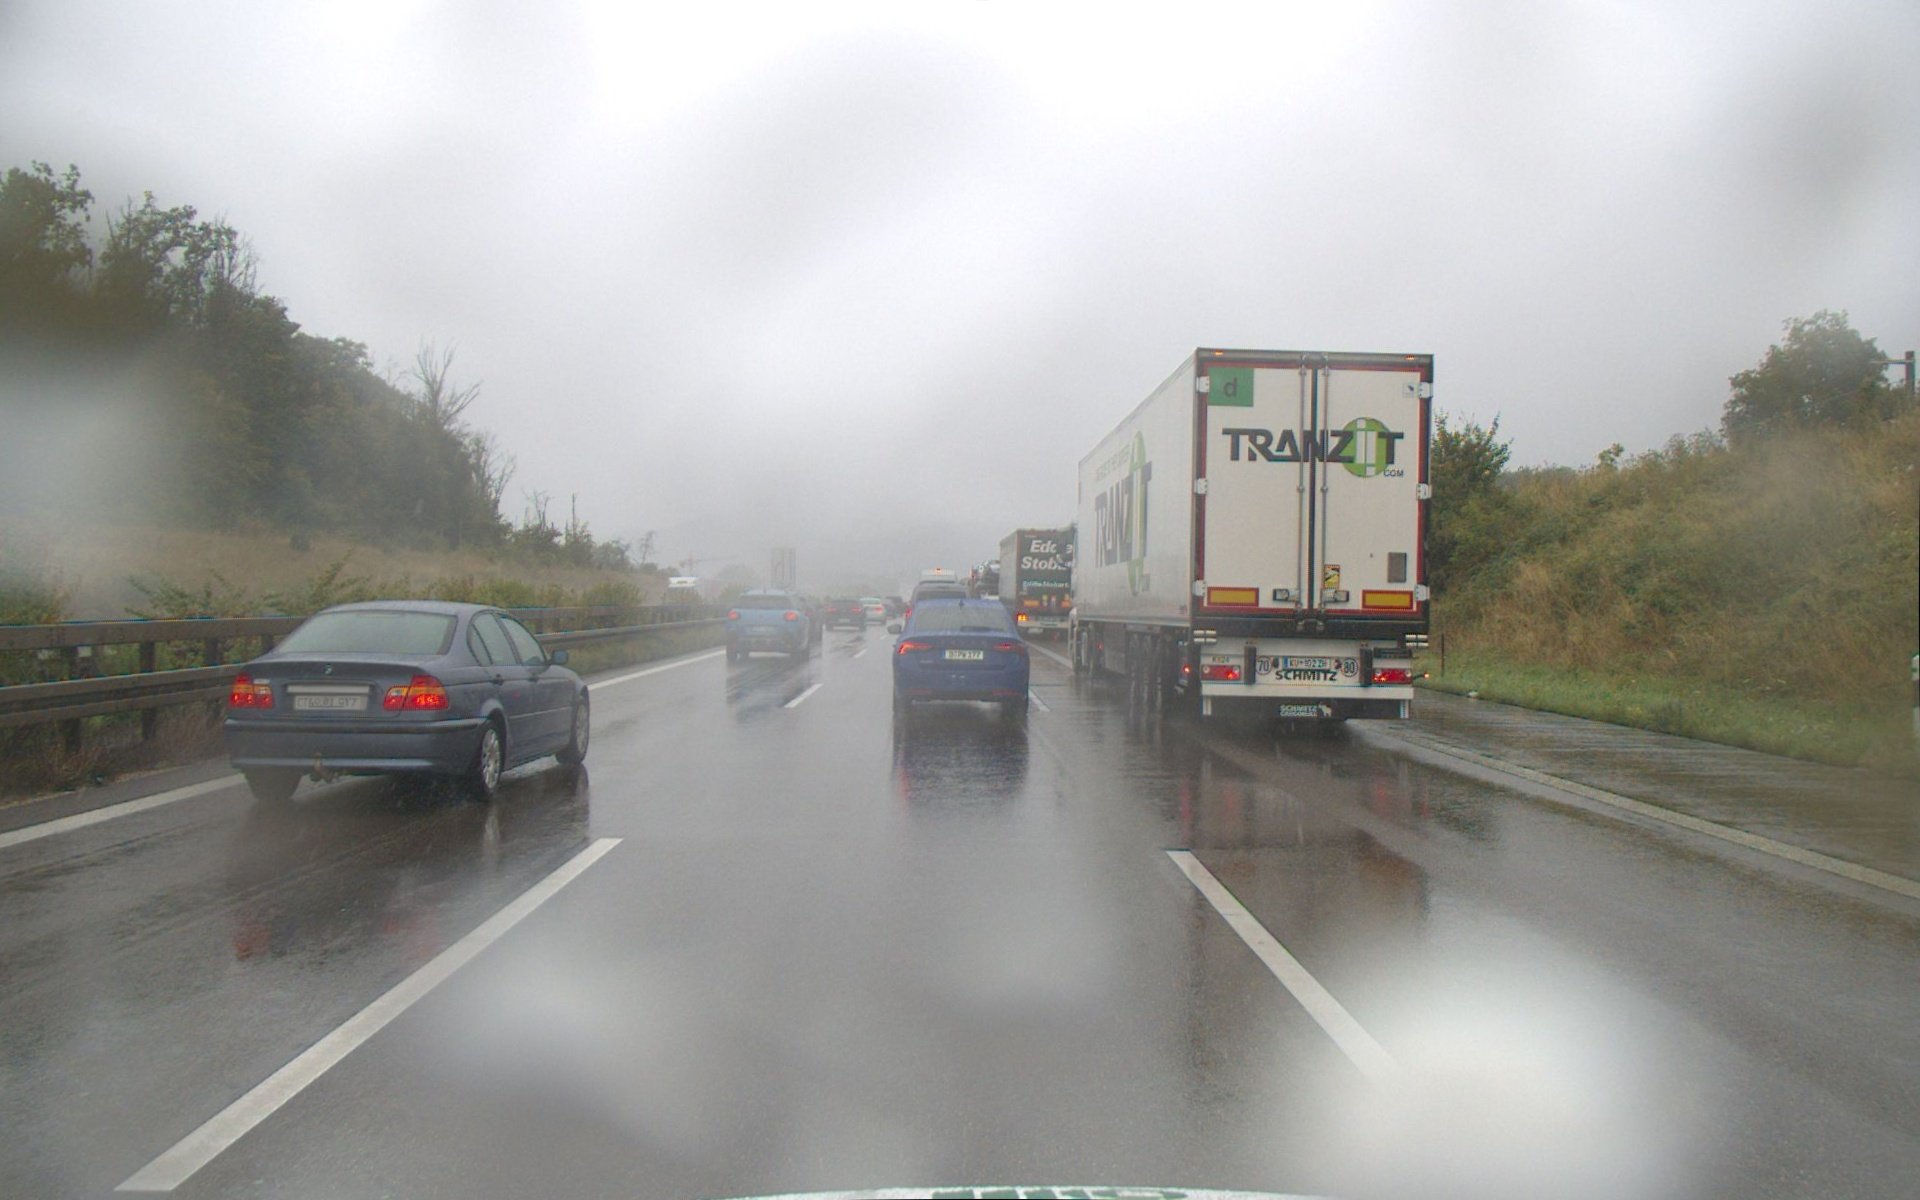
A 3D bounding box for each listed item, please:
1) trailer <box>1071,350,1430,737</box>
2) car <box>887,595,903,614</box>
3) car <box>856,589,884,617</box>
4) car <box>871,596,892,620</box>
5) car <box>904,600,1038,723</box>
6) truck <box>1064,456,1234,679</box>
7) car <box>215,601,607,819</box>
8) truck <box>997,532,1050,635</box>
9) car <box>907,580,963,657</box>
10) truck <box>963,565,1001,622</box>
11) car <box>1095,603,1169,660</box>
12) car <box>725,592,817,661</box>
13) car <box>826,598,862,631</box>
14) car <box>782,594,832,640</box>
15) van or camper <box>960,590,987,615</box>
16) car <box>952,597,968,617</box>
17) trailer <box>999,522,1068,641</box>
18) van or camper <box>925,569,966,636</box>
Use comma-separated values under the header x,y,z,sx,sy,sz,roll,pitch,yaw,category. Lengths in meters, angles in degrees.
x,y,z,sx,sy,sz,roll,pitch,yaw,category
3.581,-0.628,24.854,2.577,4.083,14.626,0,0,-1,trailer
-6.268,0.428,158.598,1.419,1.815,3.408,1,0,-1,car
-4.976,0.157,91.659,1.410,1.560,3.321,0,0,-1,car
-5.945,0.601,125.082,1.419,1.815,3.408,1,0,-1,car
0.125,0.740,21.810,1.602,1.470,4.000,0,0,0,car
3.468,-0.578,31.364,2.577,3.894,4.790,0,0,-1,truck
-4.066,0.724,13.010,1.683,1.424,4.229,0,0,0,car
2.689,-0.708,70.638,2.005,4.266,3.999,0,0,-1,truck
-0.605,0.429,40.640,1.309,1.811,3.321,0,0,-1,car
1.357,-0.468,105.741,1.953,3.481,8.029,0,1,-2,truck
4.193,0.743,40.673,1.395,1.310,3.460,0,0,-1,car
-4.395,0.593,38.948,1.686,1.550,4.000,0,0,0,car
-5.162,0.633,73.719,1.410,1.445,3.321,0,0,-1,car
-4.919,0.530,53.458,1.331,1.456,3.363,0,0,-1,car
0.923,0.180,115.468,1.736,1.653,4.483,0,1,-1,van or camper
0.026,0.621,154.089,1.419,1.815,3.408,1,0,-1,car
2.772,-0.690,65.370,2.005,4.250,11.445,0,0,-1,trailer
-0.685,0.097,74.191,1.761,2.855,4.767,0,0,-1,van or camper
